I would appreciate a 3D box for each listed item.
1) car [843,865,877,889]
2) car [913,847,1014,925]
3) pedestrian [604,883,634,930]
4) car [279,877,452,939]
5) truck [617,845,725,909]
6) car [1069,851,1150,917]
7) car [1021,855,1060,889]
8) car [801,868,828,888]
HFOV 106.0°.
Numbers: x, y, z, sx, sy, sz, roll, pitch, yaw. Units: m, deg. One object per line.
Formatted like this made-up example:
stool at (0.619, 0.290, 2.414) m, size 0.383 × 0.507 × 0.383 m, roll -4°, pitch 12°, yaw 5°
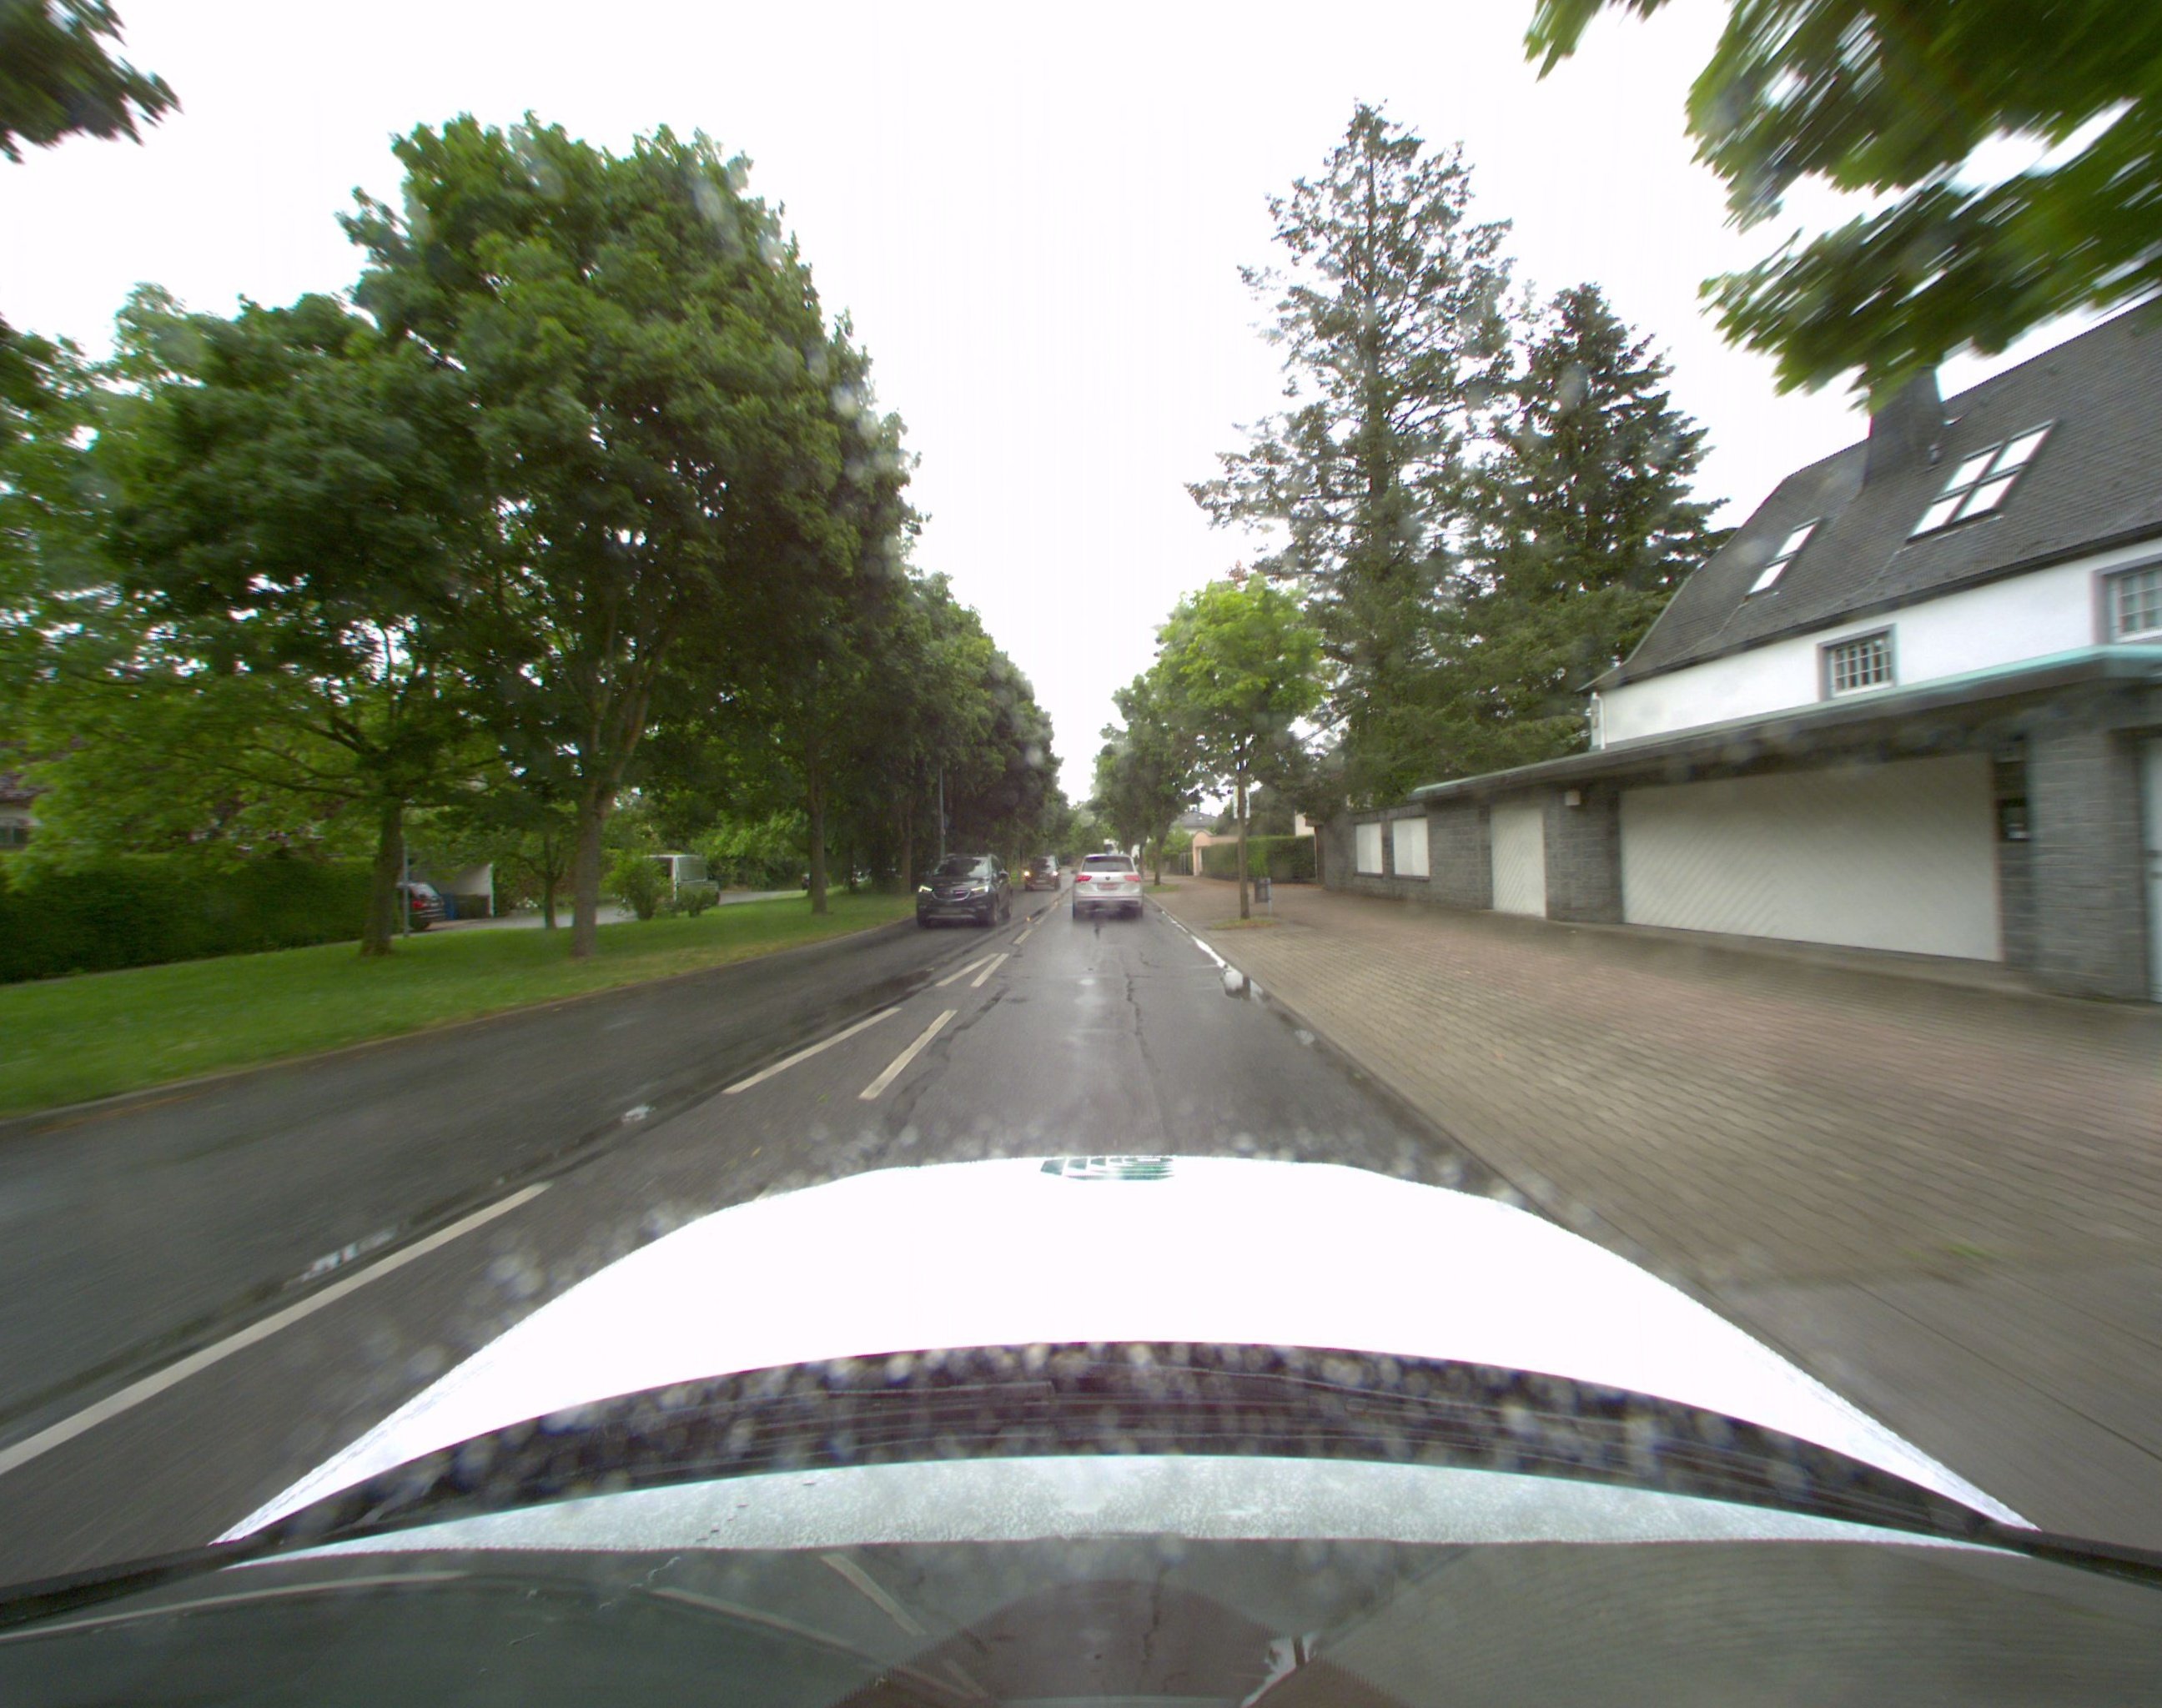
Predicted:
car at (-15.083, 1.554, 55.662) m, size 1.842 × 1.482 × 3.985 m, roll -2°, pitch 0°, yaw -11°
car at (-2.711, 0.700, 19.622) m, size 1.808 × 1.648 × 4.000 m, roll -1°, pitch 0°, yaw 0°
pedestrian at (-18.952, 2.124, 33.425) m, size 0.708 × 1.840 × 0.823 m, roll -2°, pitch 0°, yaw -5°
car at (-24.316, 1.797, 27.826) m, size 3.986 × 1.816 × 1.874 m, roll -2°, pitch 0°, yaw -10°
truck at (-18.429, 0.980, 37.005) m, size 2.281 × 2.597 × 5.863 m, roll -2°, pitch 0°, yaw -5°
car at (0.661, 0.754, 22.027) m, size 1.991 × 1.632 × 3.998 m, roll 0°, pitch 0°, yaw -1°
car at (-2.065, 0.914, 42.608) m, size 1.750 × 1.648 × 4.001 m, roll -1°, pitch 0°, yaw 1°
car at (-21.817, 1.932, 66.759) m, size 1.476 × 1.530 × 3.107 m, roll -2°, pitch 0°, yaw -6°
